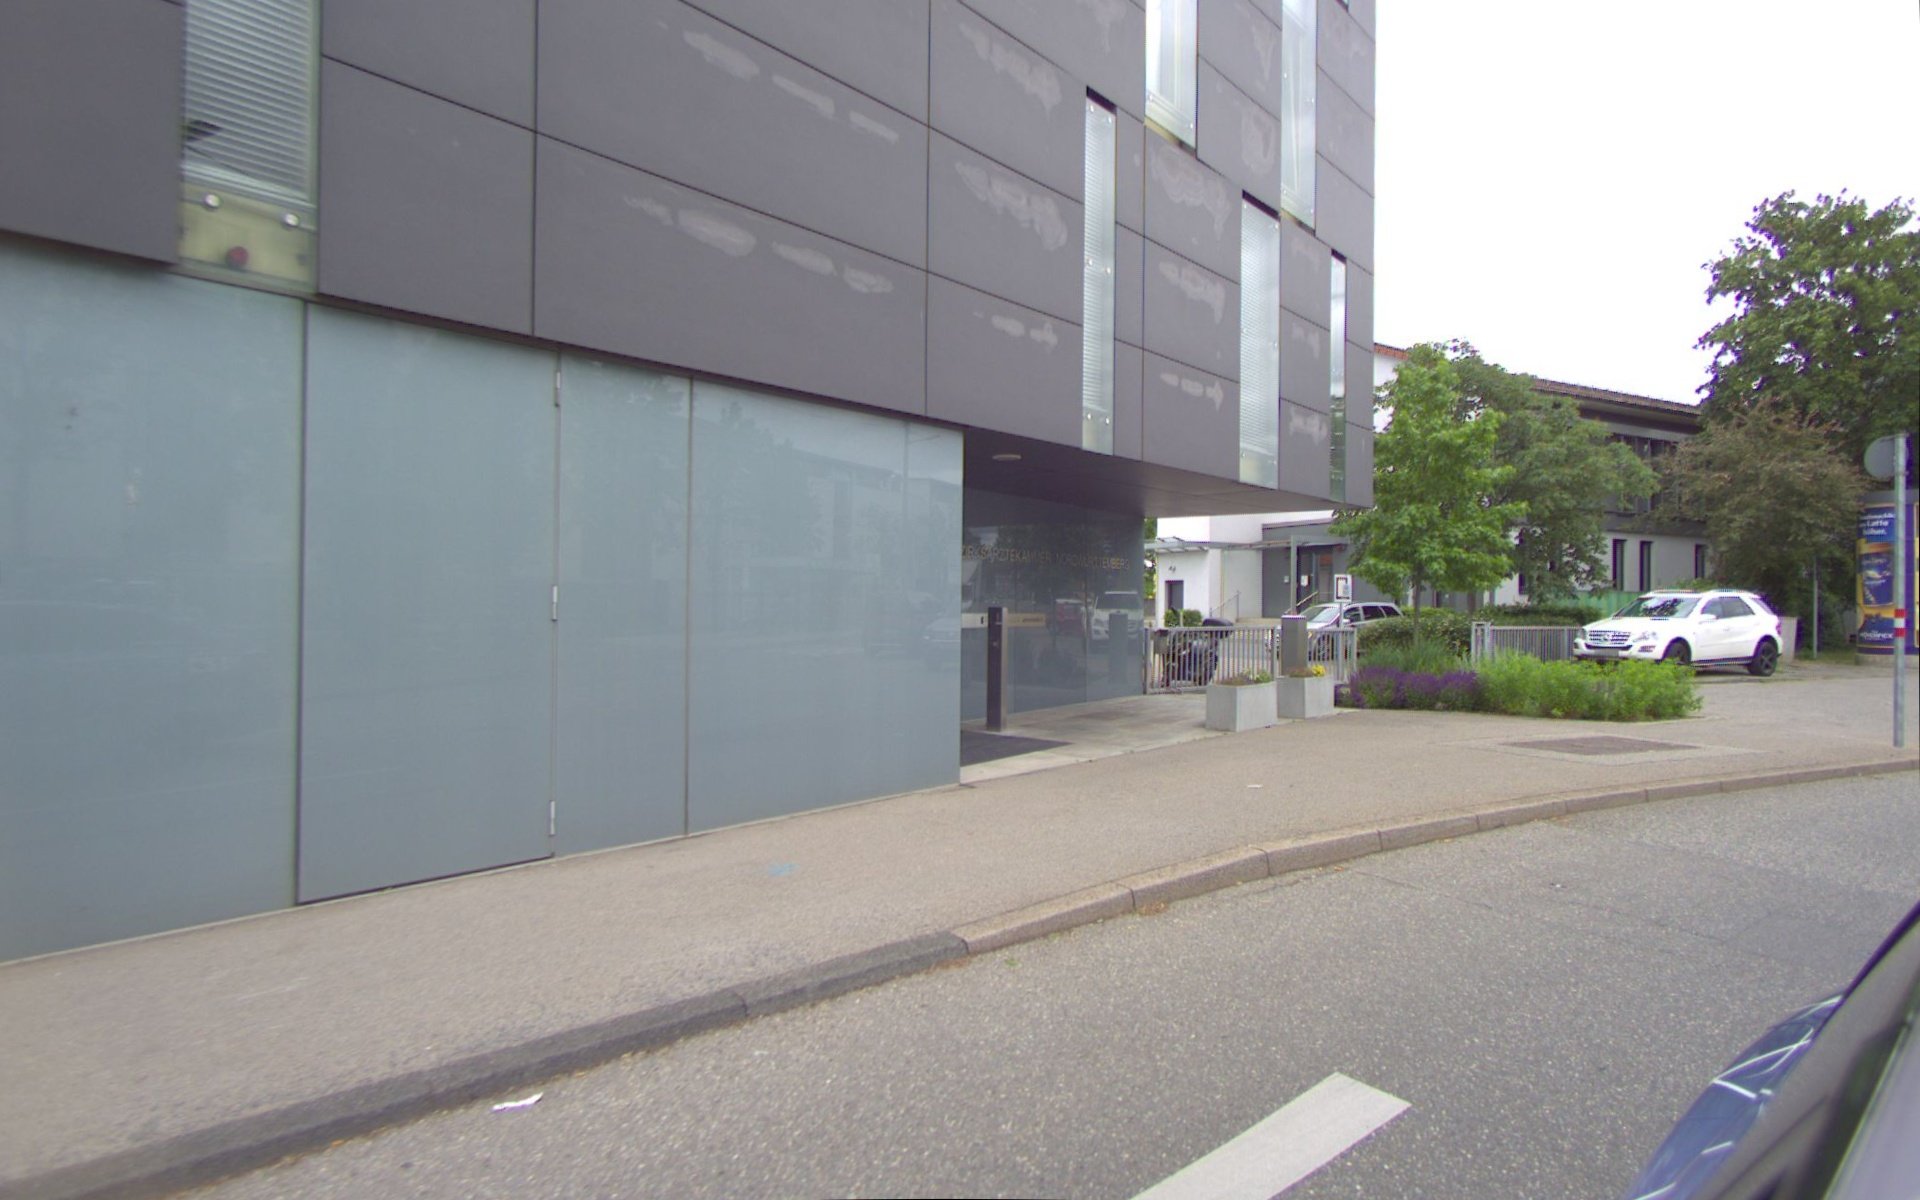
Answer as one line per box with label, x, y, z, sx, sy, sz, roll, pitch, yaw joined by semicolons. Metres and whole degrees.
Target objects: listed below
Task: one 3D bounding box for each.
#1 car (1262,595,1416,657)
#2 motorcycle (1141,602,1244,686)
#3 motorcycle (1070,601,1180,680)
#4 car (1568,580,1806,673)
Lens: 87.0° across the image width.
car;10.323;0.647;27.513;4.133;1.502;1.623;-1;1;-29
motorcycle;4.167;0.763;18.033;2.087;1.411;0.669;2;-1;-41
motorcycle;3.150;0.734;19.144;2.420;1.411;0.669;0;0;-41
car;15.203;0.517;21.154;4.623;1.780;1.862;0;0;-22
